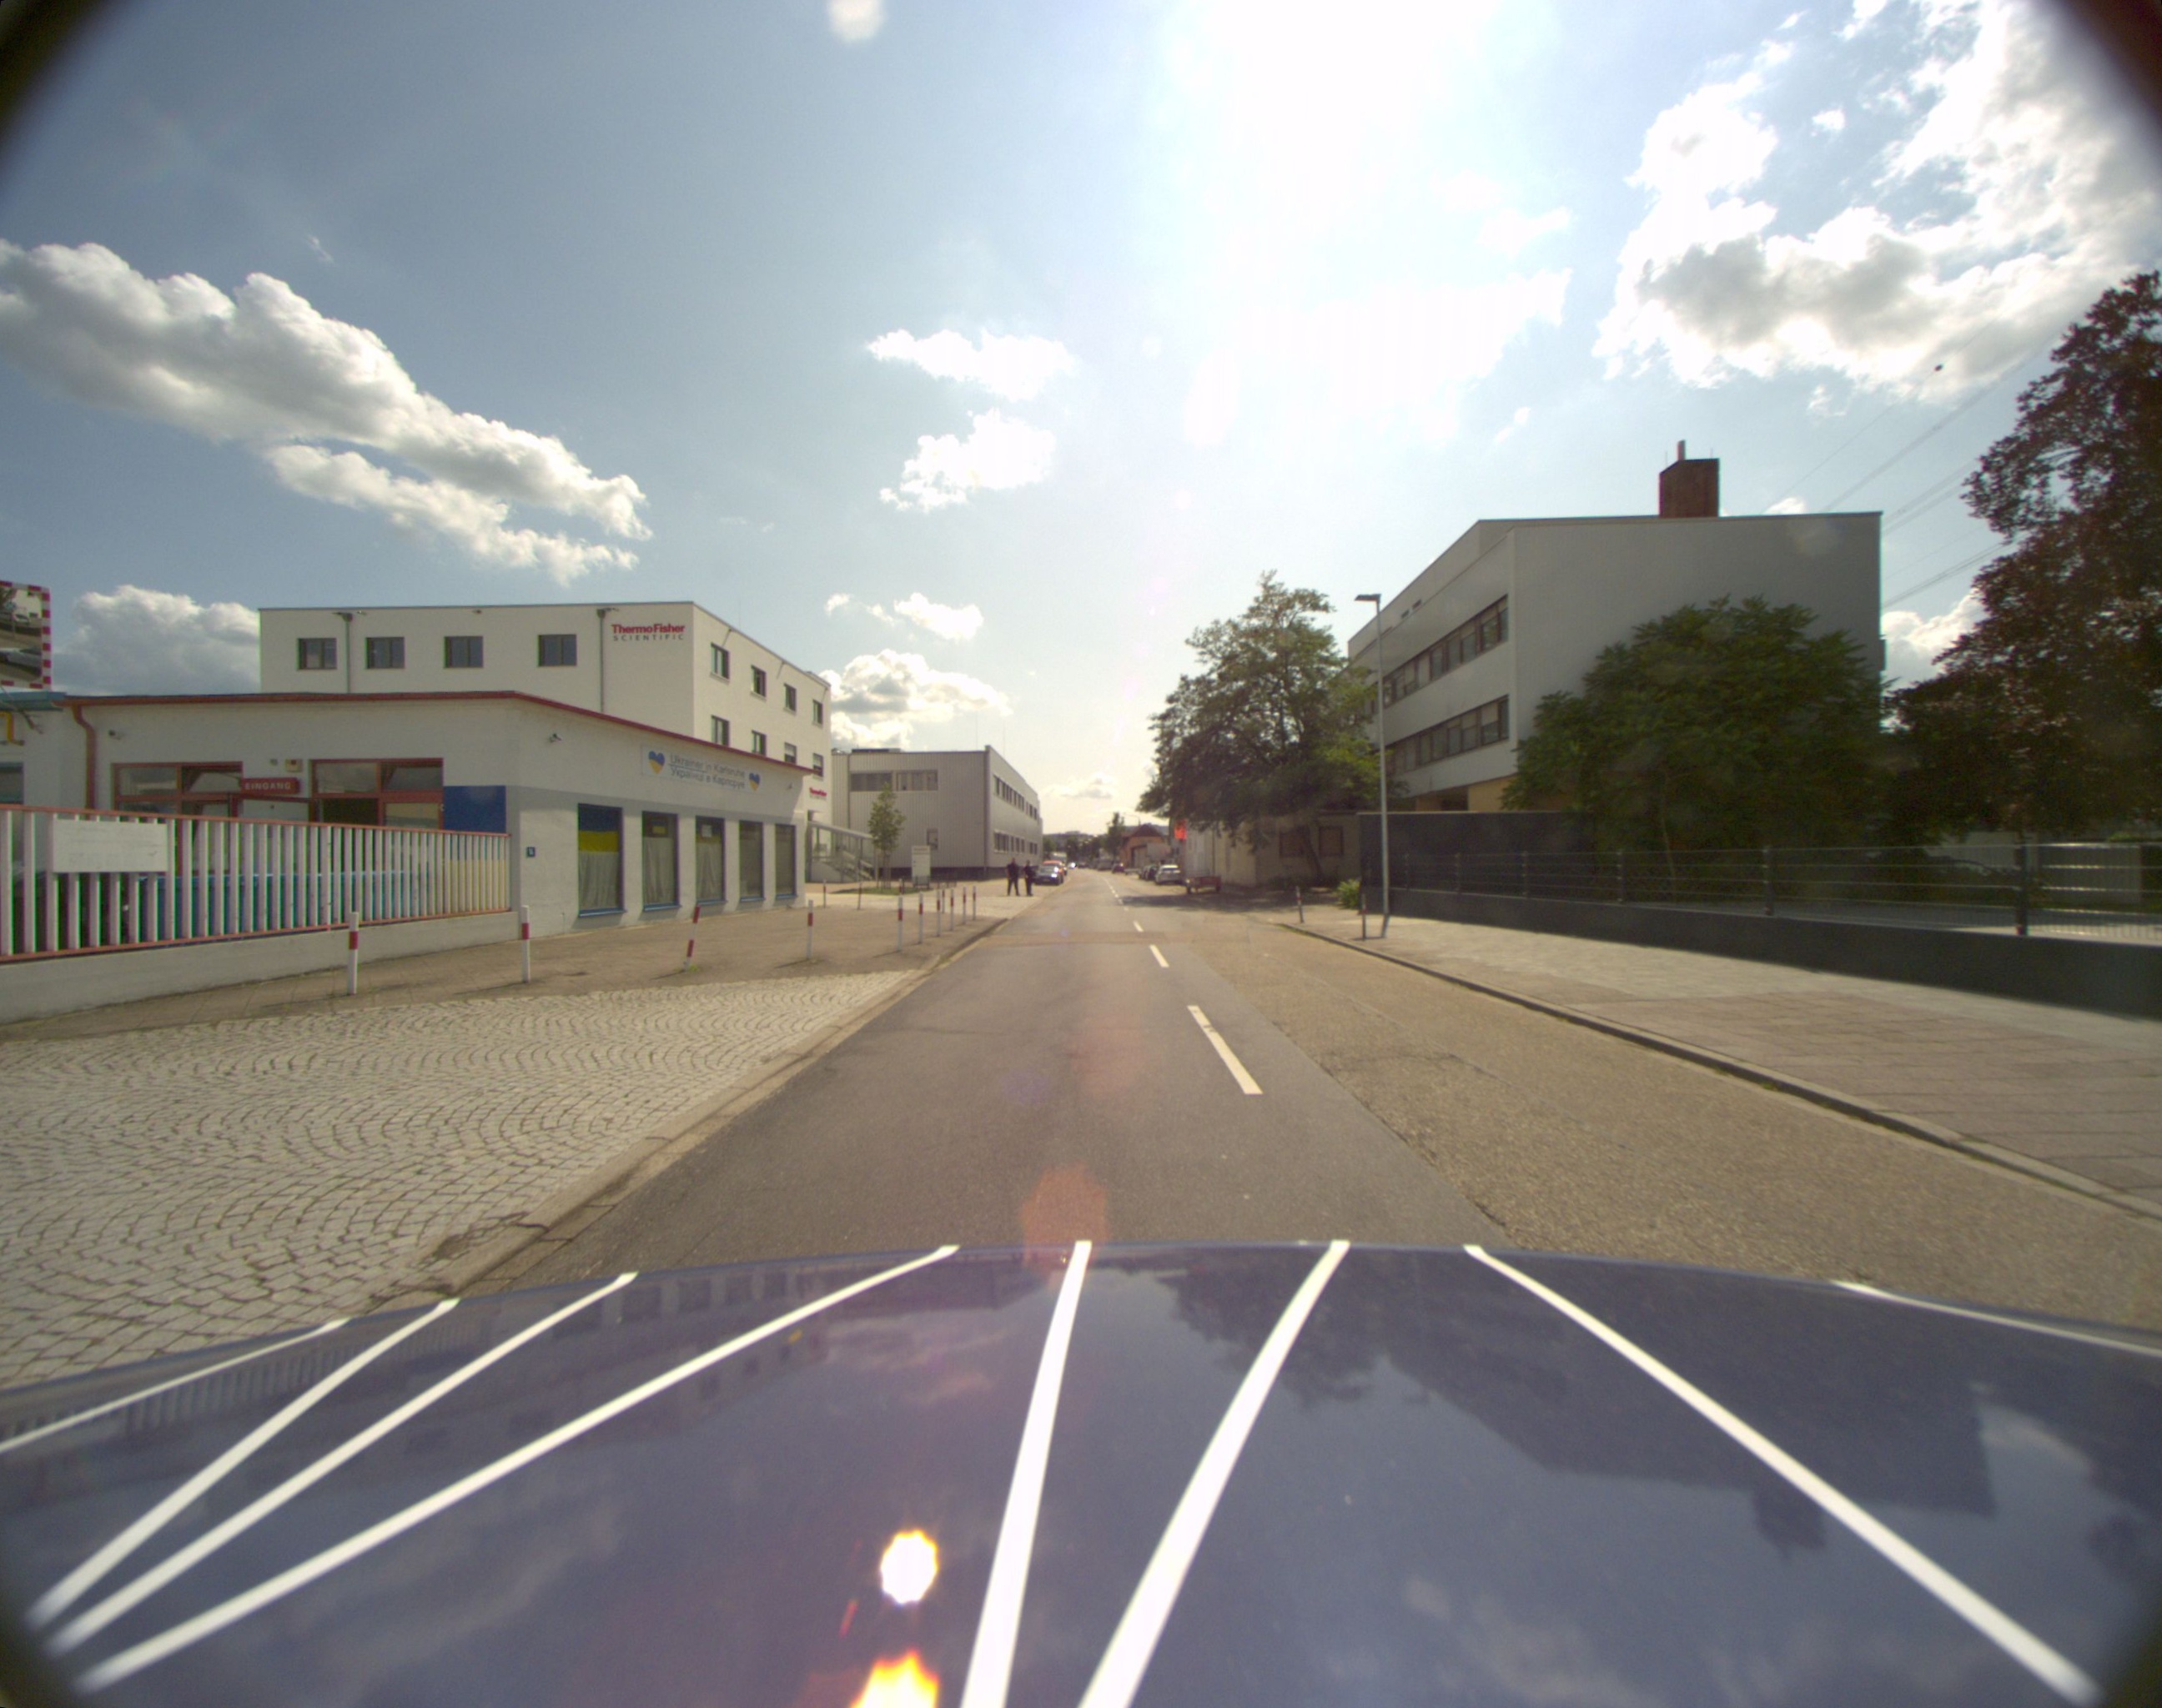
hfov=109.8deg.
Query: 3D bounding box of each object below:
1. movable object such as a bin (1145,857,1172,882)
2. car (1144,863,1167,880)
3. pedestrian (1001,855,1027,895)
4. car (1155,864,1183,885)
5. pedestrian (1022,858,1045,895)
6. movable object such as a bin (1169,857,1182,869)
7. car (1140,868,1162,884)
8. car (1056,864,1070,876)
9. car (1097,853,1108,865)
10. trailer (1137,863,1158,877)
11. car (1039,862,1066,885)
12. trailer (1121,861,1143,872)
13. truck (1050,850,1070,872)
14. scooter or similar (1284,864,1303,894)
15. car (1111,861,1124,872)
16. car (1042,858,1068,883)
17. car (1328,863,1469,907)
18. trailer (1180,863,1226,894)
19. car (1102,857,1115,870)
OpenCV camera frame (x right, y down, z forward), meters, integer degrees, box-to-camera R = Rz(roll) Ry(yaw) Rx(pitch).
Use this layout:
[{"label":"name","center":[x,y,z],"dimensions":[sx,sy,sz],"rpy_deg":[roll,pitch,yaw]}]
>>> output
[{"label":"movable object such as a bin","center":[6.442,1.270,63.249],"dimensions":[1.618,1.907,5.139],"rpy_deg":[-5,-1,0]},{"label":"car","center":[6.861,1.595,70.144],"dimensions":[1.677,1.447,4.224],"rpy_deg":[-3,0,0]},{"label":"pedestrian","center":[-3.320,1.044,37.589],"dimensions":[0.994,1.940,1.089],"rpy_deg":[0,0,-22]},{"label":"car","center":[6.560,1.508,57.022],"dimensions":[1.677,1.447,4.514],"rpy_deg":[-3,0,1]},{"label":"pedestrian","center":[-2.390,1.124,37.874],"dimensions":[0.860,1.797,1.004],"rpy_deg":[0,0,-22]},{"label":"movable object such as a bin","center":[11.420,1.090,92.122],"dimensions":[1.319,1.419,1.151],"rpy_deg":[0,0,-4]},{"label":"car","center":[6.812,2.108,74.552],"dimensions":[1.677,1.368,3.884],"rpy_deg":[-3,0,-1]},{"label":"car","center":[-2.425,2.123,103.124],"dimensions":[1.715,1.502,4.114],"rpy_deg":[-3,0,-1]},{"label":"car","center":[4.976,1.125,177.003],"dimensions":[1.999,2.556,5.823],"rpy_deg":[-3,0,-1]},{"label":"trailer","center":[7.048,1.697,80.873],"dimensions":[1.772,1.368,5.051],"rpy_deg":[-3,0,-1]},{"label":"car","center":[-2.074,1.424,56.508],"dimensions":[1.663,1.548,4.178],"rpy_deg":[-3,0,2]},{"label":"trailer","center":[6.644,1.612,99.706],"dimensions":[2.457,1.157,6.053],"rpy_deg":[-3,0,0]},{"label":"truck","center":[-3.260,1.084,117.803],"dimensions":[2.608,3.207,8.075],"rpy_deg":[-4,0,-4]},{"label":"scooter or similar","center":[9.744,1.135,34.885],"dimensions":[0.483,1.271,1.361],"rpy_deg":[-3,0,1]},{"label":"car","center":[5.729,1.938,118.402],"dimensions":[1.714,1.459,4.629],"rpy_deg":[-3,0,0]},{"label":"car","center":[-2.097,1.328,62.763],"dimensions":[1.877,1.881,4.452],"rpy_deg":[-5,0,-1]},{"label":"car","center":[10.515,1.021,25.391],"dimensions":[4.001,1.354,1.795],"rpy_deg":[-1,0,4]},{"label":"trailer","center":[6.536,1.294,41.064],"dimensions":[1.771,1.430,4.336],"rpy_deg":[-3,0,1]},{"label":"car","center":[5.493,1.833,150.100],"dimensions":[2.079,2.527,5.823],"rpy_deg":[-3,0,-1]}]
